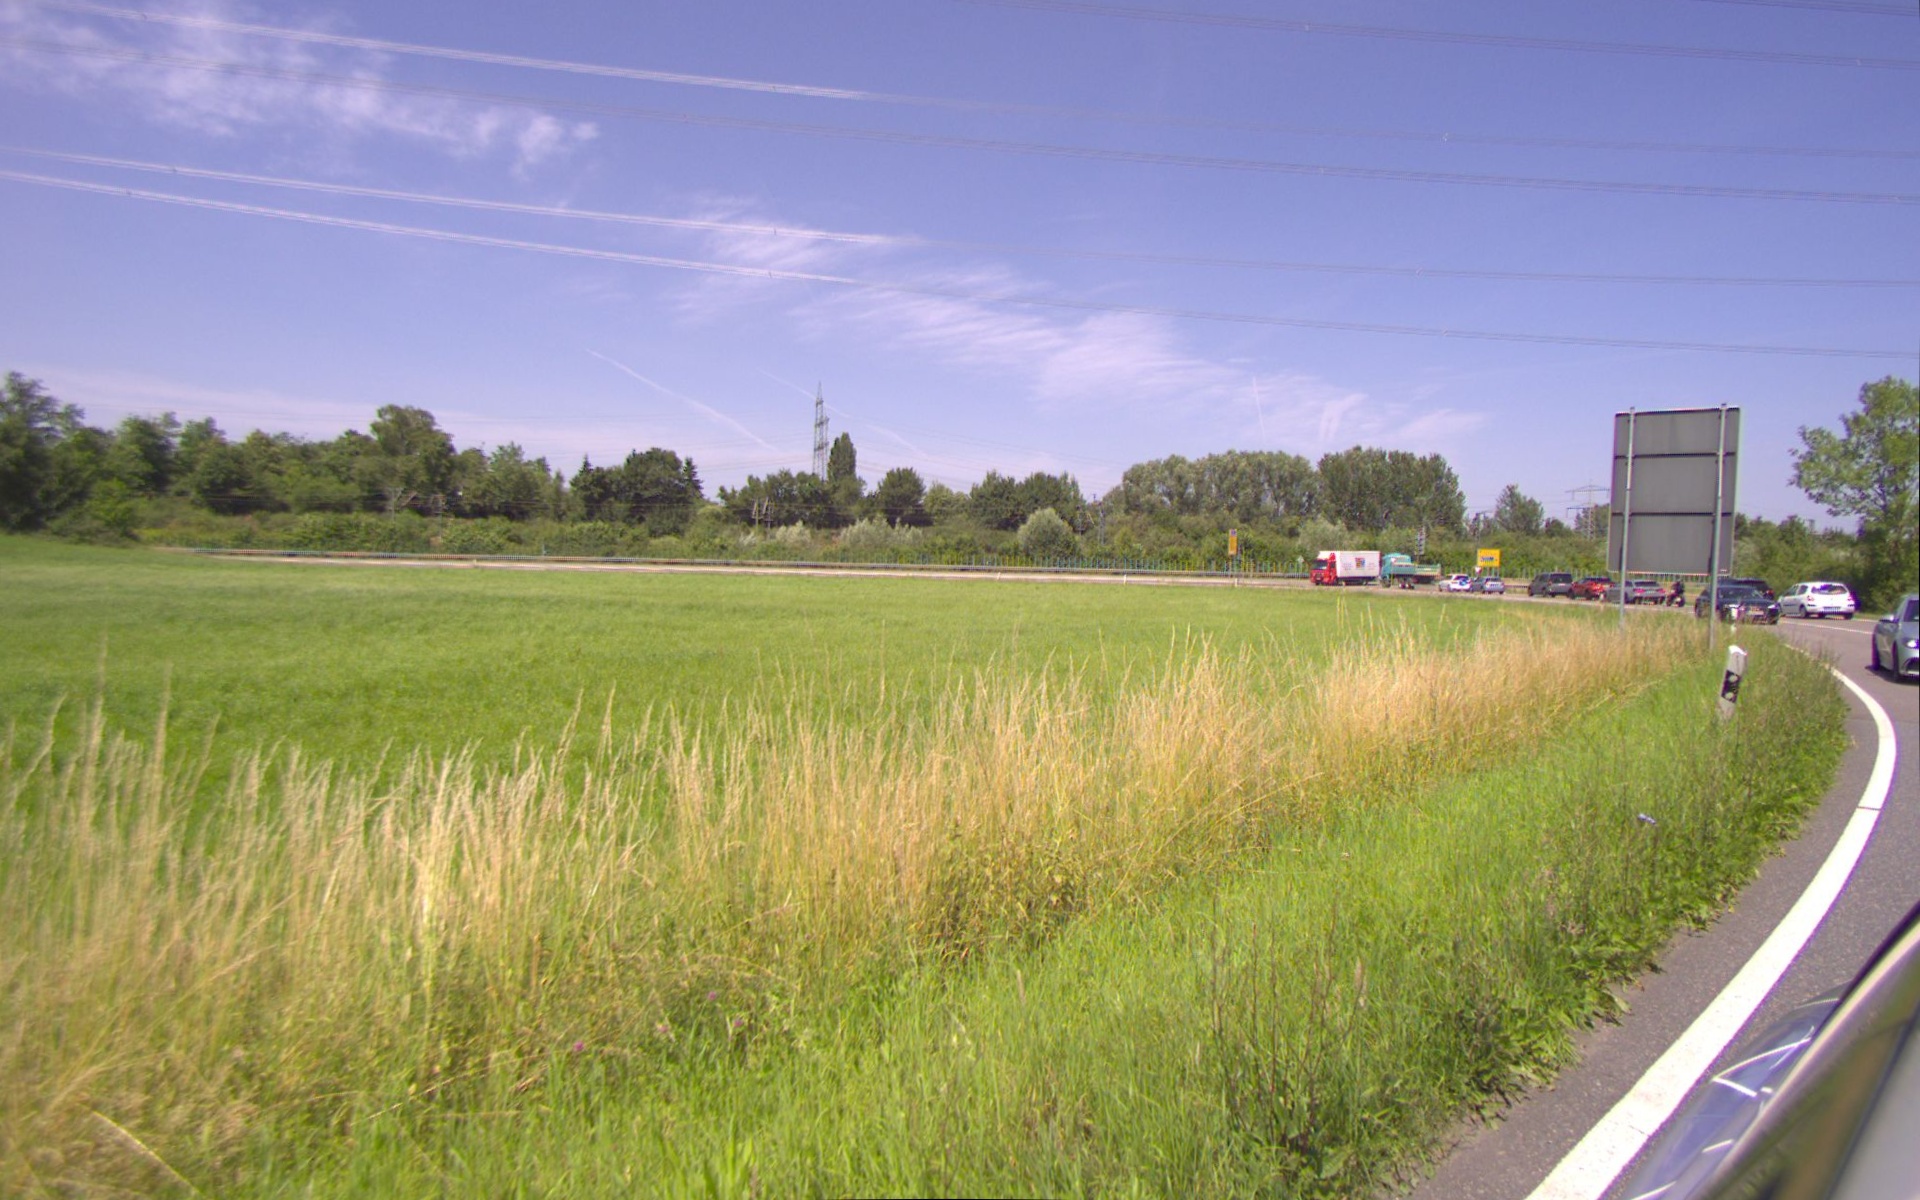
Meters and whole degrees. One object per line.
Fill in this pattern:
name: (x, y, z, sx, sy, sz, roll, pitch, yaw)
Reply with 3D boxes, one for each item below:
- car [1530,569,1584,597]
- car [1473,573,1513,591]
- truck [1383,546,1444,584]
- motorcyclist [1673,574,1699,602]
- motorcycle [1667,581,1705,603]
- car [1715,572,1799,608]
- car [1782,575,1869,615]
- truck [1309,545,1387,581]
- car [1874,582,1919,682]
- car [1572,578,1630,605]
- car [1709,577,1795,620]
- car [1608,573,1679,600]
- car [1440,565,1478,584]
car: (43.506, -1.252, 73.818, 1.902, 1.854, 4.427, 2, 3, 10)
car: (44.483, -1.533, 84.494, 1.610, 1.477, 4.000, 1, 2, 8)
truck: (44.461, -3.447, 99.502, 2.561, 3.514, 7.611, 1, 2, 0)
motorcyclist: (40.045, -0.678, 55.826, 0.771, 1.513, 1.127, 1, 2, 12)
motorcycle: (40.056, -0.459, 55.849, 0.772, 1.137, 2.422, 0, 2, 12)
car: (38.236, -0.506, 48.660, 1.683, 1.658, 4.229, 0, 2, 16)
car: (35.355, -0.232, 41.429, 1.522, 1.460, 3.585, -1, 2, 20)
truck: (41.355, -3.955, 107.717, 9.370, 3.623, 2.728, -2, 3, -32)
car: (16.783, 0.468, 16.845, 1.814, 1.505, 4.096, 0, 1, 35)
car: (42.326, -0.588, 66.886, 1.777, 1.534, 4.377, 2, 3, 12)
car: (29.899, -0.093, 38.336, 1.809, 1.457, 4.108, 2, 2, 28)
car: (40.929, -0.848, 60.710, 1.819, 1.478, 4.793, 1, 3, 12)
car: (44.816, -2.279, 91.002, 1.748, 1.640, 4.322, 0, 2, 8)
